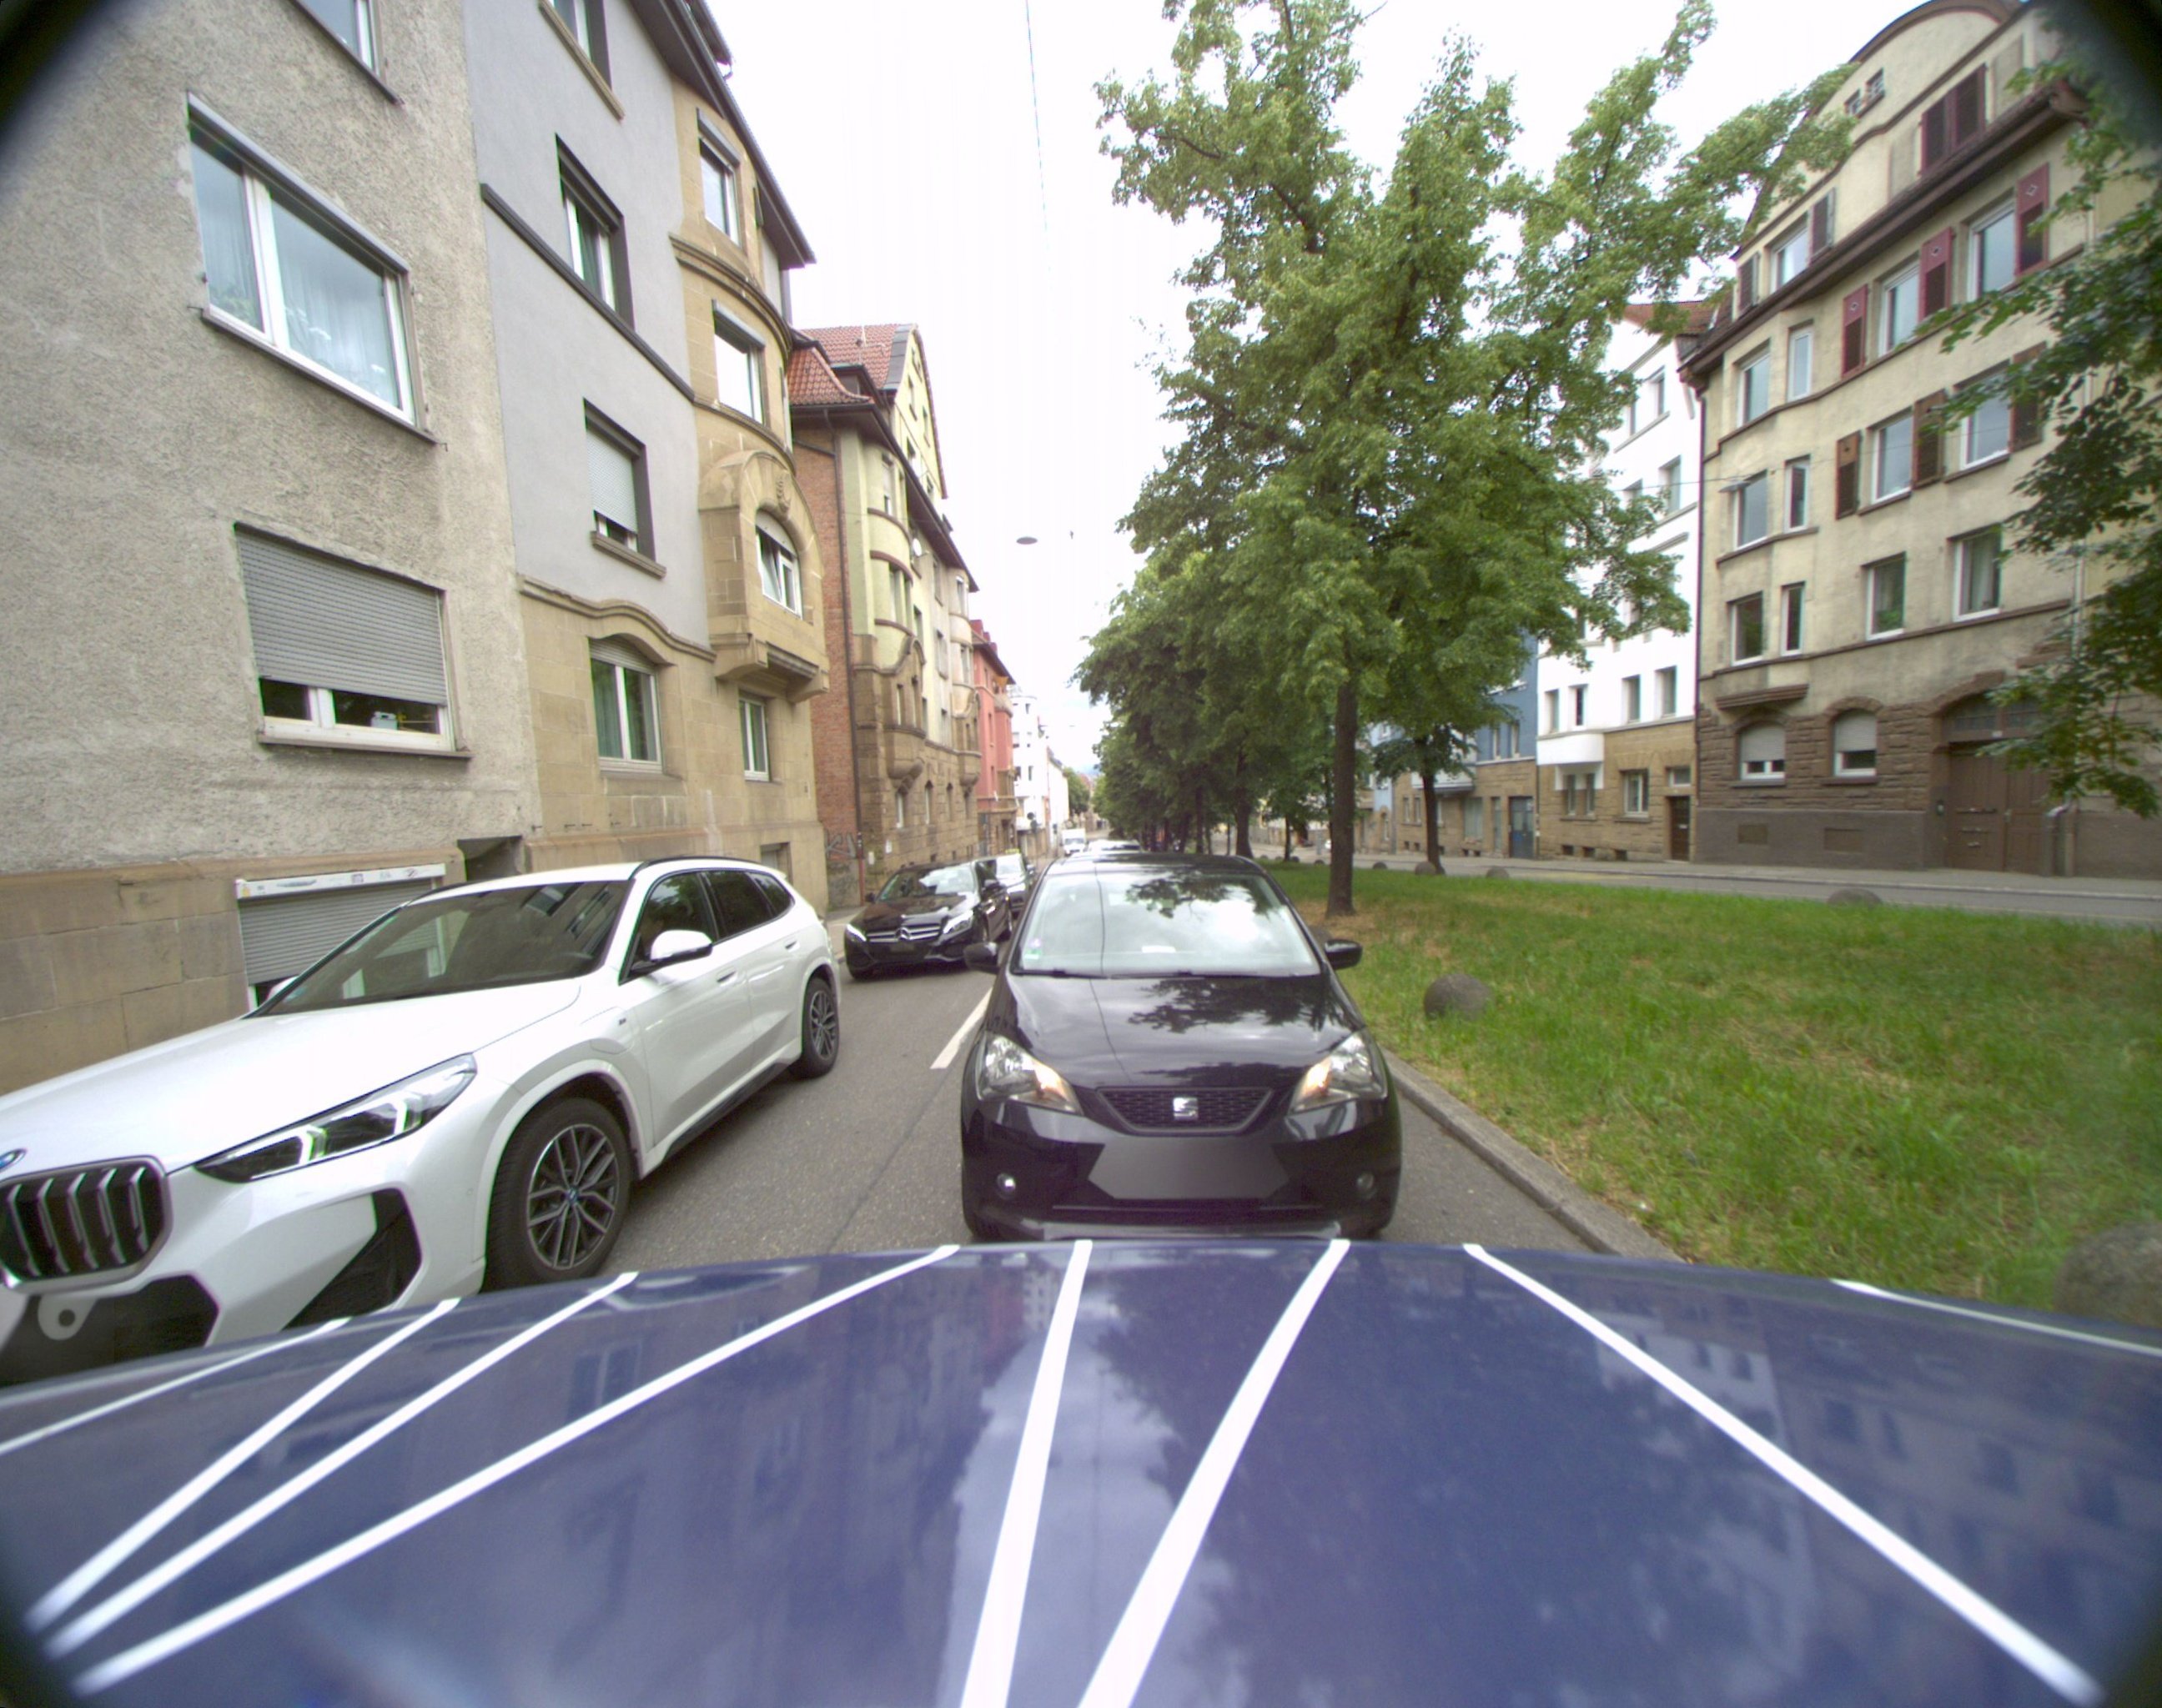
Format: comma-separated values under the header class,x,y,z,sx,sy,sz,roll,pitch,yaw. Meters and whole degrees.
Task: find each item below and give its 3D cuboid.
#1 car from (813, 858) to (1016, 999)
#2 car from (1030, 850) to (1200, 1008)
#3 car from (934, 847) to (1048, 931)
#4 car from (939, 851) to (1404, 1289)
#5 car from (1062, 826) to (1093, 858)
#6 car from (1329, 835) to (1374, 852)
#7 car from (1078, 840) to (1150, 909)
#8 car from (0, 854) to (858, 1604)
class,x,y,z,sx,sy,sz,roll,pitch,yaw
car,-2.165,0.903,11.171,1.884,1.370,4.204,-6,2,1
car,0.357,0.746,9.432,1.664,1.457,3.580,-2,2,0
car,-1.992,0.721,18.166,1.936,1.506,4.302,-6,2,2
car,0.327,0.759,4.309,1.611,1.457,3.296,0,2,0
car,-0.375,-1.220,73.041,2.716,2.880,6.450,-2,2,-1
car,22.441,-0.872,63.134,3.291,1.323,1.672,-2,2,9
car,0.786,0.441,19.436,1.607,1.492,3.736,-2,2,0
car,-2.797,0.934,3.910,1.859,1.547,4.349,-6,2,0
